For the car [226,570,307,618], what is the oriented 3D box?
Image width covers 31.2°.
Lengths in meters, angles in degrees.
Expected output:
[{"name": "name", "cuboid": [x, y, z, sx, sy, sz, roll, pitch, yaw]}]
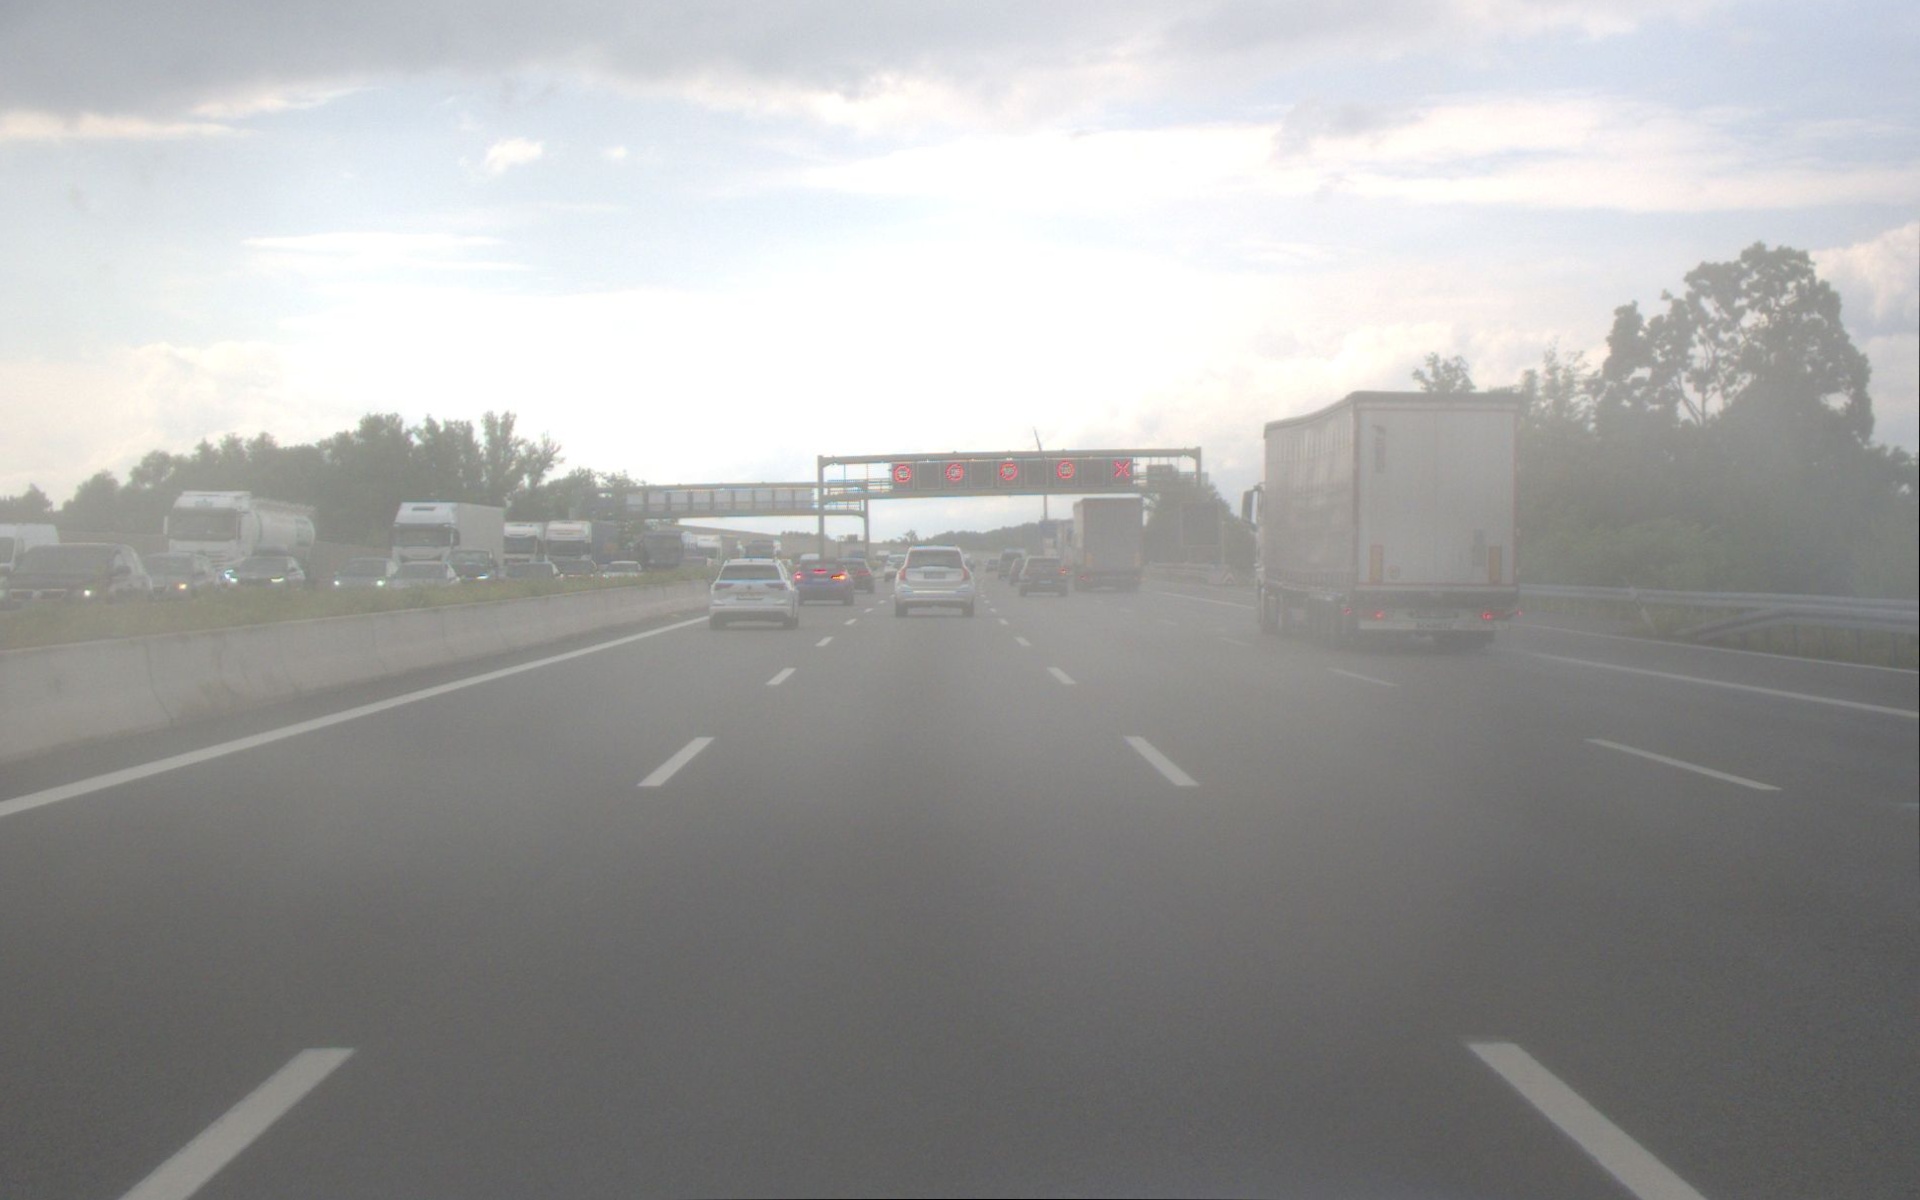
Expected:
[{"name": "car", "cuboid": [-22.242, -0.193, 110.395, 1.787, 1.464, 4.565, 1, 1, -1]}]

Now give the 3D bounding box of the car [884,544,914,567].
[{"name": "car", "cuboid": [-3.773, -2.763, 213.207, 1.772, 1.436, 4.055, 0, 1, 0]}]

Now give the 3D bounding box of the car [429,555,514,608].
[{"name": "car", "cuboid": [-18.933, -0.740, 133.547, 2.280, 1.961, 6.086, 1, 1, 1]}]

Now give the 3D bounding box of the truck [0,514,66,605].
[{"name": "truck", "cuboid": [-26.657, -1.149, 95.477, 2.102, 2.443, 6.264, 1, 1, -1]}]

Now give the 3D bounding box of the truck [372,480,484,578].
[{"name": "truck", "cuboid": [-22.562, -2.995, 146.141, 3.660, 4.034, 6.524, 1, 1, 0]}]

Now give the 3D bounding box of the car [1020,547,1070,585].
[{"name": "car", "cuboid": [3.224, -1.311, 131.138, 1.836, 1.436, 4.055, 0, 1, 0]}]

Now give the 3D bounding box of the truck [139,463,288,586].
[{"name": "truck", "cuboid": [-27.237, -2.721, 125.830, 3.660, 4.304, 8.238, 1, 1, -1]}]

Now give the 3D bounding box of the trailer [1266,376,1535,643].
[{"name": "trailer", "cuboid": [7.274, -1.482, 58.921, 2.961, 4.006, 14.118, 0, 1, 1]}]

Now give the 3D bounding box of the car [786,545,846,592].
[{"name": "car", "cuboid": [-4.456, -0.987, 106.602, 1.772, 1.436, 4.056, 0, 1, -1]}]

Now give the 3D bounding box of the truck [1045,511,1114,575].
[{"name": "truck", "cuboid": [8.007, -3.796, 231.260, 4.244, 4.162, 11.989, 1, 1, 0]}]

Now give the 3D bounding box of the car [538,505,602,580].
[{"name": "car", "cuboid": [-22.250, -3.273, 196.396, 2.982, 4.135, 6.043, 1, 1, -1]}]

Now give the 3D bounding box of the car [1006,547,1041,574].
[{"name": "car", "cuboid": [3.427, -2.129, 185.787, 1.836, 1.436, 4.055, 0, 1, 0]}]

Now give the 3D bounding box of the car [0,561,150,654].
[{"name": "car", "cuboid": [-14.860, 0.088, 56.911, 1.826, 1.449, 4.944, 1, 1, -1]}]

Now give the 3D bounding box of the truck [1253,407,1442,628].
[{"name": "truck", "cuboid": [7.355, -1.564, 66.064, 2.961, 4.006, 6.589, 0, 1, 1]}]

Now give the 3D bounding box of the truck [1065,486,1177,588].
[{"name": "truck", "cuboid": [7.024, -2.748, 152.119, 4.180, 4.273, 12.613, 1, 1, 0]}]

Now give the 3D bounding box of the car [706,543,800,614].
[{"name": "car", "cuboid": [-4.278, -0.467, 71.434, 1.772, 1.436, 3.874, 0, 1, -1]}]

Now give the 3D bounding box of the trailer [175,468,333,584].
[{"name": "trailer", "cuboid": [-27.344, -2.817, 133.903, 3.660, 4.222, 12.468, 1, 1, -1]}]

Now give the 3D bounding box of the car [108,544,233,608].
[{"name": "car", "cuboid": [-18.837, -0.588, 82.229, 1.965, 1.449, 4.944, 1, 1, -1]}]

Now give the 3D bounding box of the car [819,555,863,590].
[{"name": "car", "cuboid": [-4.889, -1.145, 141.748, 1.772, 1.436, 4.056, 0, 1, -2]}]

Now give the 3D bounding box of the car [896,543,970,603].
[{"name": "car", "cuboid": [-0.698, -0.692, 85.665, 1.772, 1.436, 4.056, 0, 1, -1]}]

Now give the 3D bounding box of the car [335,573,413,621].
[{"name": "car", "cuboid": [-18.620, -0.099, 109.419, 1.787, 1.449, 4.565, 1, 1, -1]}]
